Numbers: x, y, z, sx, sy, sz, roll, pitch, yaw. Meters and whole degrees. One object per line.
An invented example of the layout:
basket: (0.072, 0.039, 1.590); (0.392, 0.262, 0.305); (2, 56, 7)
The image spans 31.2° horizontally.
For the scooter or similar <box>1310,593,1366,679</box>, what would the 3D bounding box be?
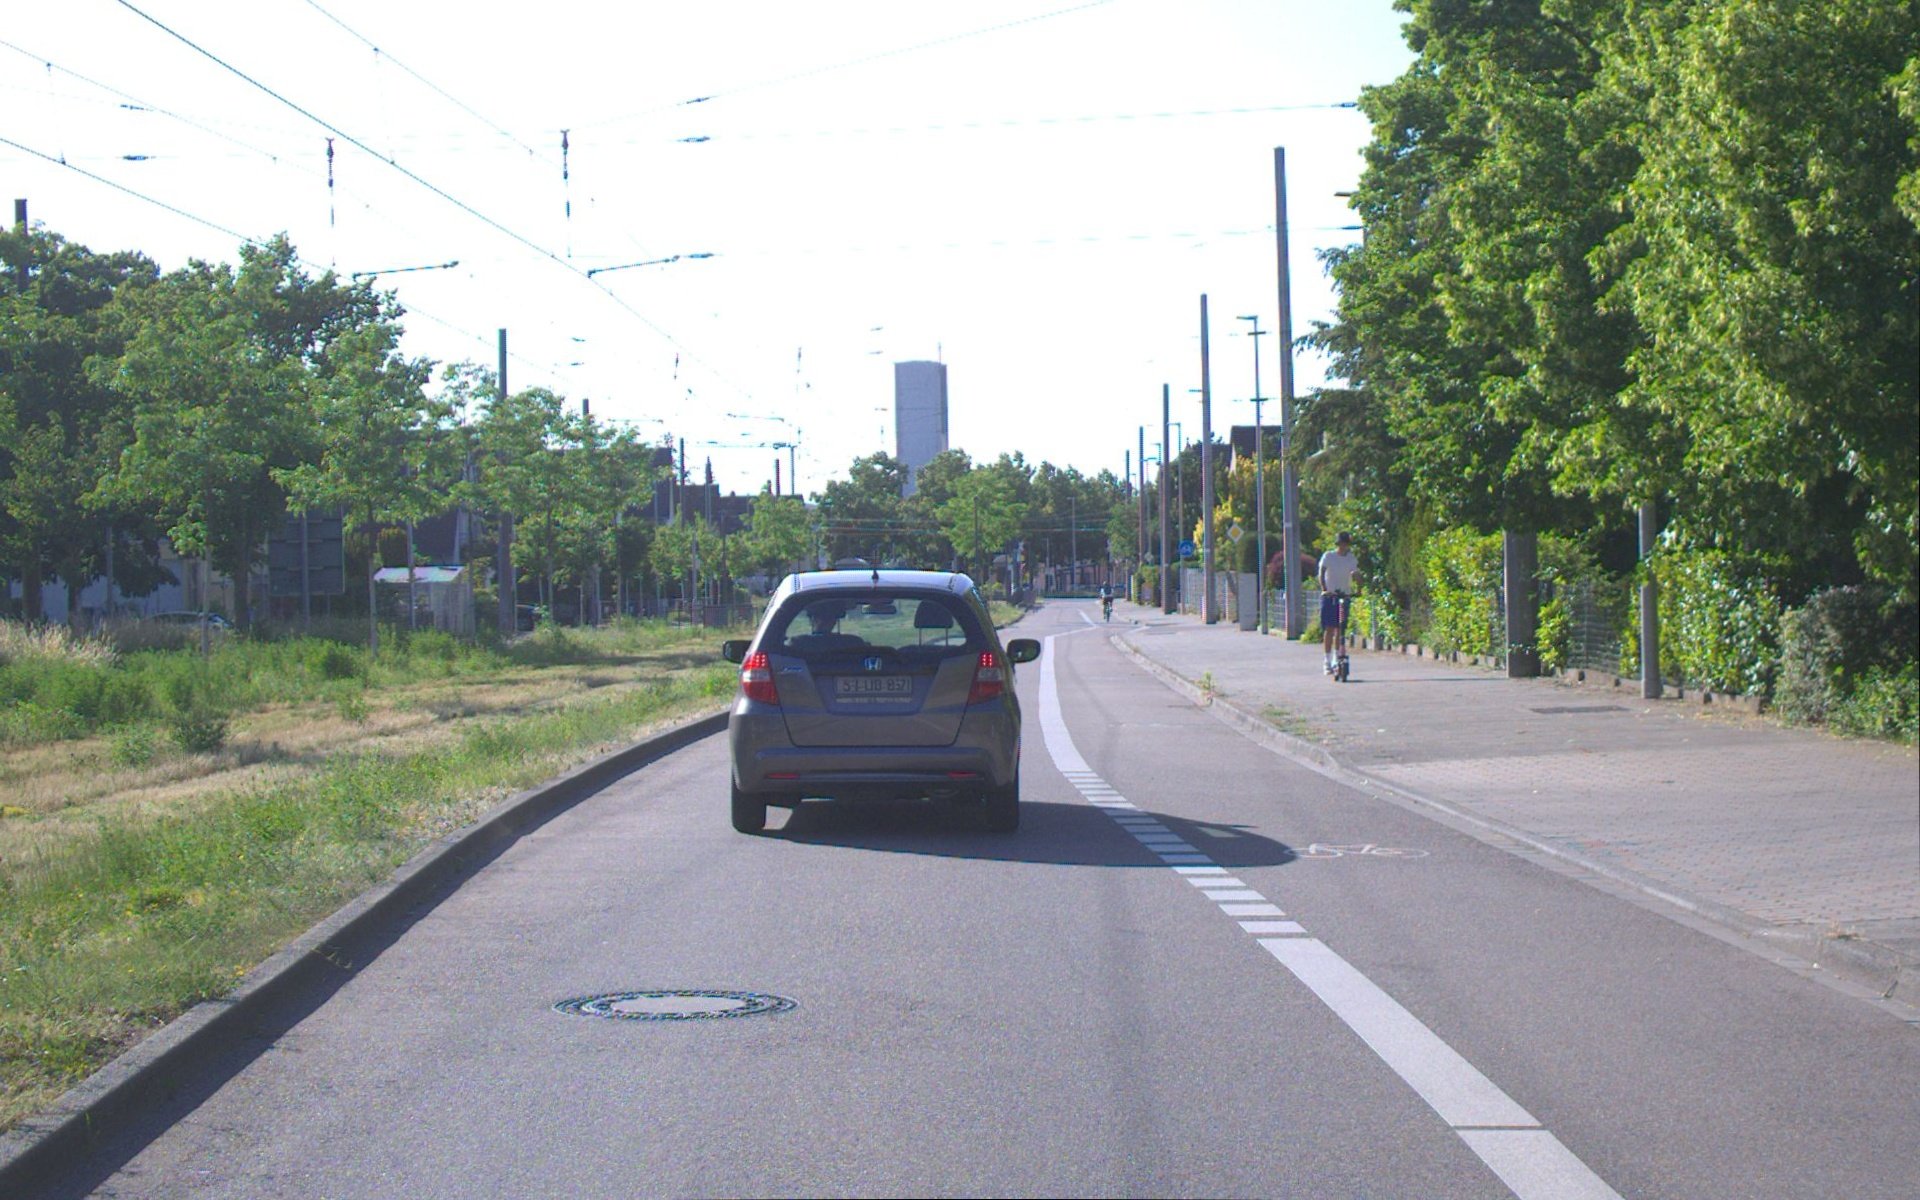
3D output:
scooter or similar: (5.009, 0.469, 45.605); (0.539, 1.114, 1.417); (-1, 0, -1)

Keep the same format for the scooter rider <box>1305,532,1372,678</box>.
scooter rider: (4.995, 0.061, 45.405); (0.716, 1.894, 0.935); (-1, 0, -1)

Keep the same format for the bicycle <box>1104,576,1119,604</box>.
bicycle: (6.848, -0.448, 155.351); (0.512, 1.237, 3.089); (-2, 1, 0)

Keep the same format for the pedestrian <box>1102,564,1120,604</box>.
pedestrian: (6.813, -0.732, 155.508); (0.722, 1.794, 1.164); (-2, 0, 0)

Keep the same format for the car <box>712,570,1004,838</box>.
car: (-0.610, 0.564, 20.905); (1.624, 1.494, 3.457); (0, 0, -1)
